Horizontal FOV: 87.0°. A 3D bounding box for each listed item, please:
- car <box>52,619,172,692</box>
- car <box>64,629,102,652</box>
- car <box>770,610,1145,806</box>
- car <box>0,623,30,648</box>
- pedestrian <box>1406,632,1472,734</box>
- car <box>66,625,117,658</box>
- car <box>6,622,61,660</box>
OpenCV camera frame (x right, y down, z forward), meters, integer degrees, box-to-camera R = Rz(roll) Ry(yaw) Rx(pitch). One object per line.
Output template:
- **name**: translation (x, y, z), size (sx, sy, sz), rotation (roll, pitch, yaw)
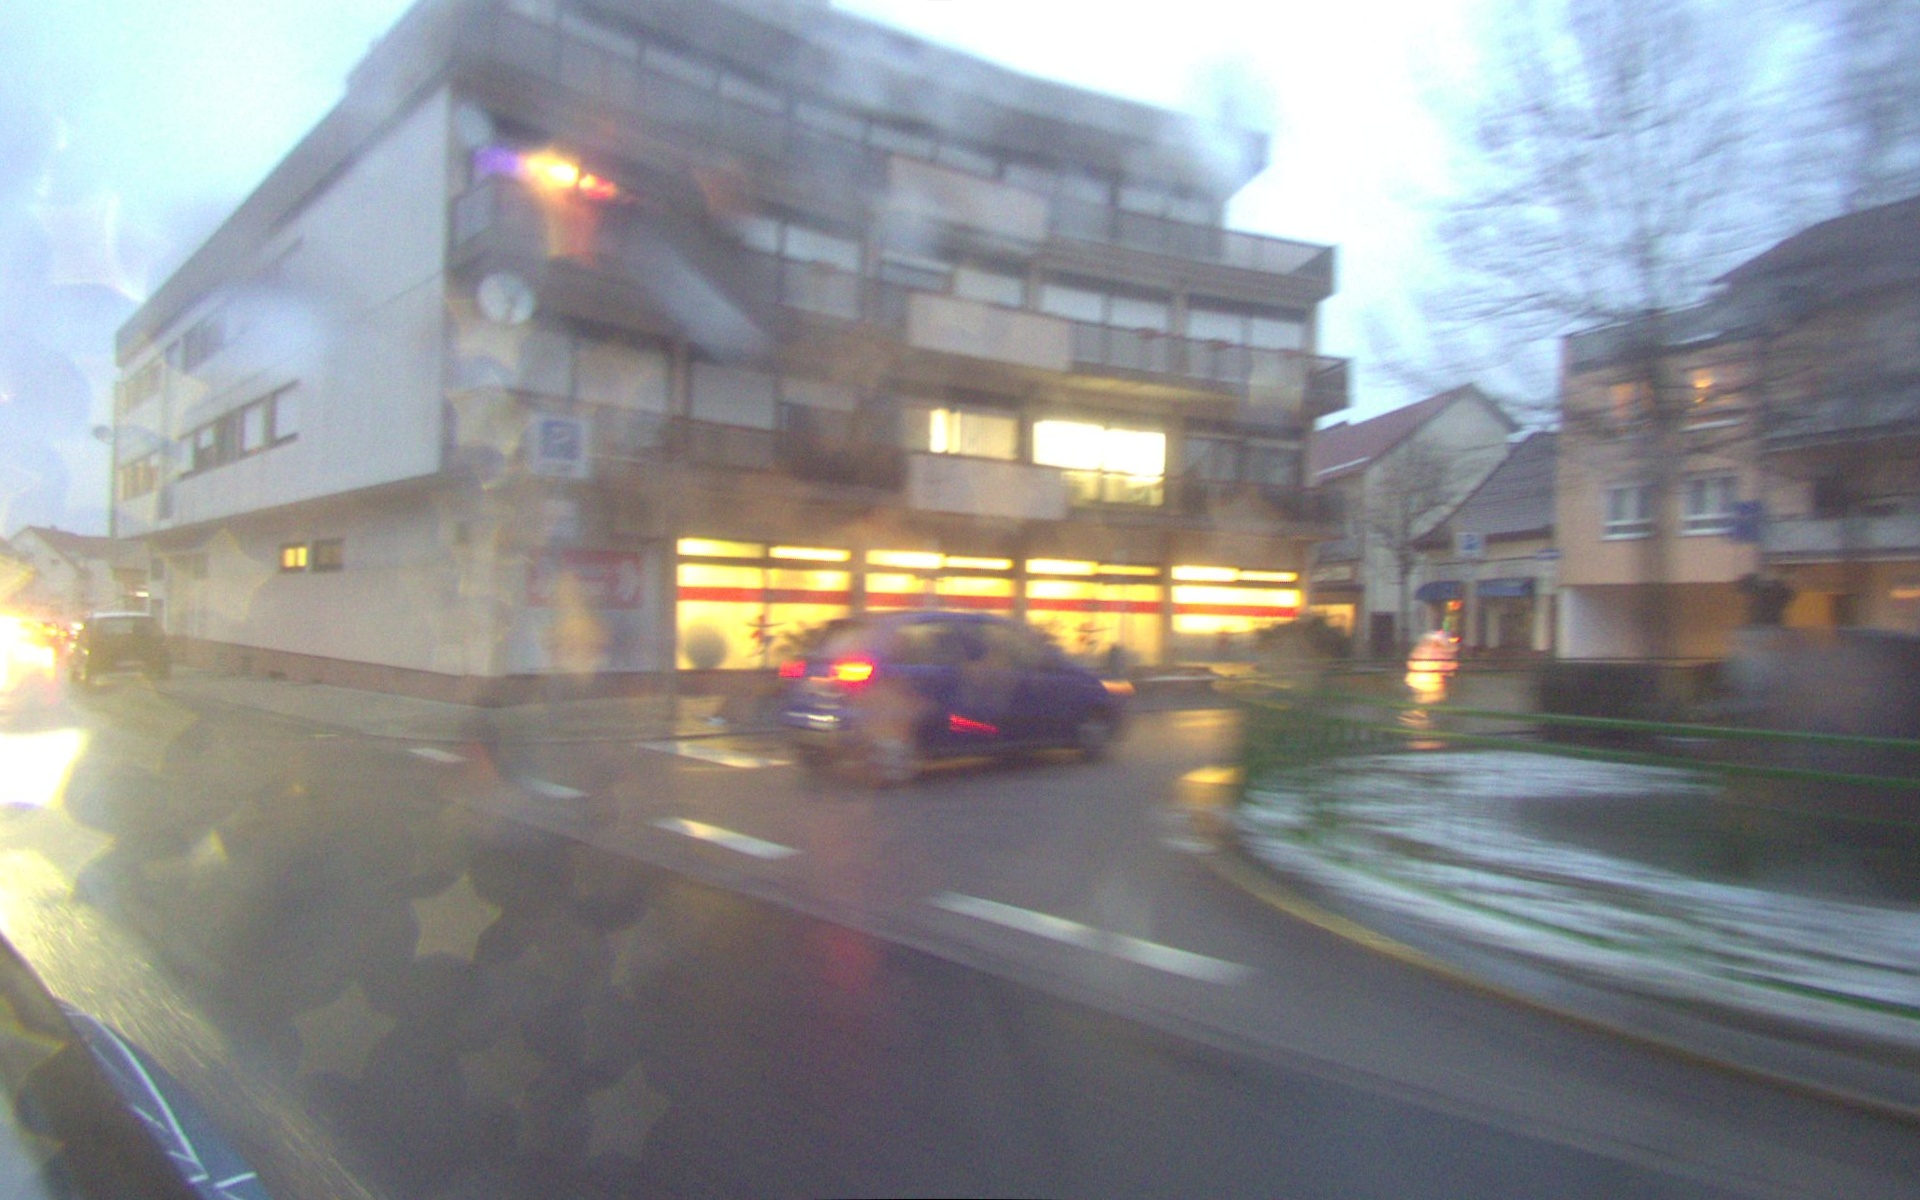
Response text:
- **car**: translation (-21.060, 1.314, 25.076), size (3.827, 1.629, 1.874), rotation (-2, -1, 44)
- **car**: translation (-57.314, 2.631, 66.182), size (1.751, 1.460, 3.833), rotation (0, -1, -40)
- **car**: translation (0.032, 0.873, 9.531), size (3.256, 1.519, 1.505), rotation (0, -1, -35)
- **car**: translation (-63.422, 2.362, 67.233), size (1.893, 1.630, 3.878), rotation (0, -1, -35)
- **pedestrian**: translation (6.570, 1.119, 13.894), size (0.611, 1.349, 0.569), rotation (0, -2, -35)
- **car**: translation (-40.939, 1.943, 47.681), size (1.752, 1.460, 3.832), rotation (0, -1, -41)
- **car**: translation (-44.299, 1.941, 48.449), size (1.865, 1.692, 4.005), rotation (0, -1, -42)
